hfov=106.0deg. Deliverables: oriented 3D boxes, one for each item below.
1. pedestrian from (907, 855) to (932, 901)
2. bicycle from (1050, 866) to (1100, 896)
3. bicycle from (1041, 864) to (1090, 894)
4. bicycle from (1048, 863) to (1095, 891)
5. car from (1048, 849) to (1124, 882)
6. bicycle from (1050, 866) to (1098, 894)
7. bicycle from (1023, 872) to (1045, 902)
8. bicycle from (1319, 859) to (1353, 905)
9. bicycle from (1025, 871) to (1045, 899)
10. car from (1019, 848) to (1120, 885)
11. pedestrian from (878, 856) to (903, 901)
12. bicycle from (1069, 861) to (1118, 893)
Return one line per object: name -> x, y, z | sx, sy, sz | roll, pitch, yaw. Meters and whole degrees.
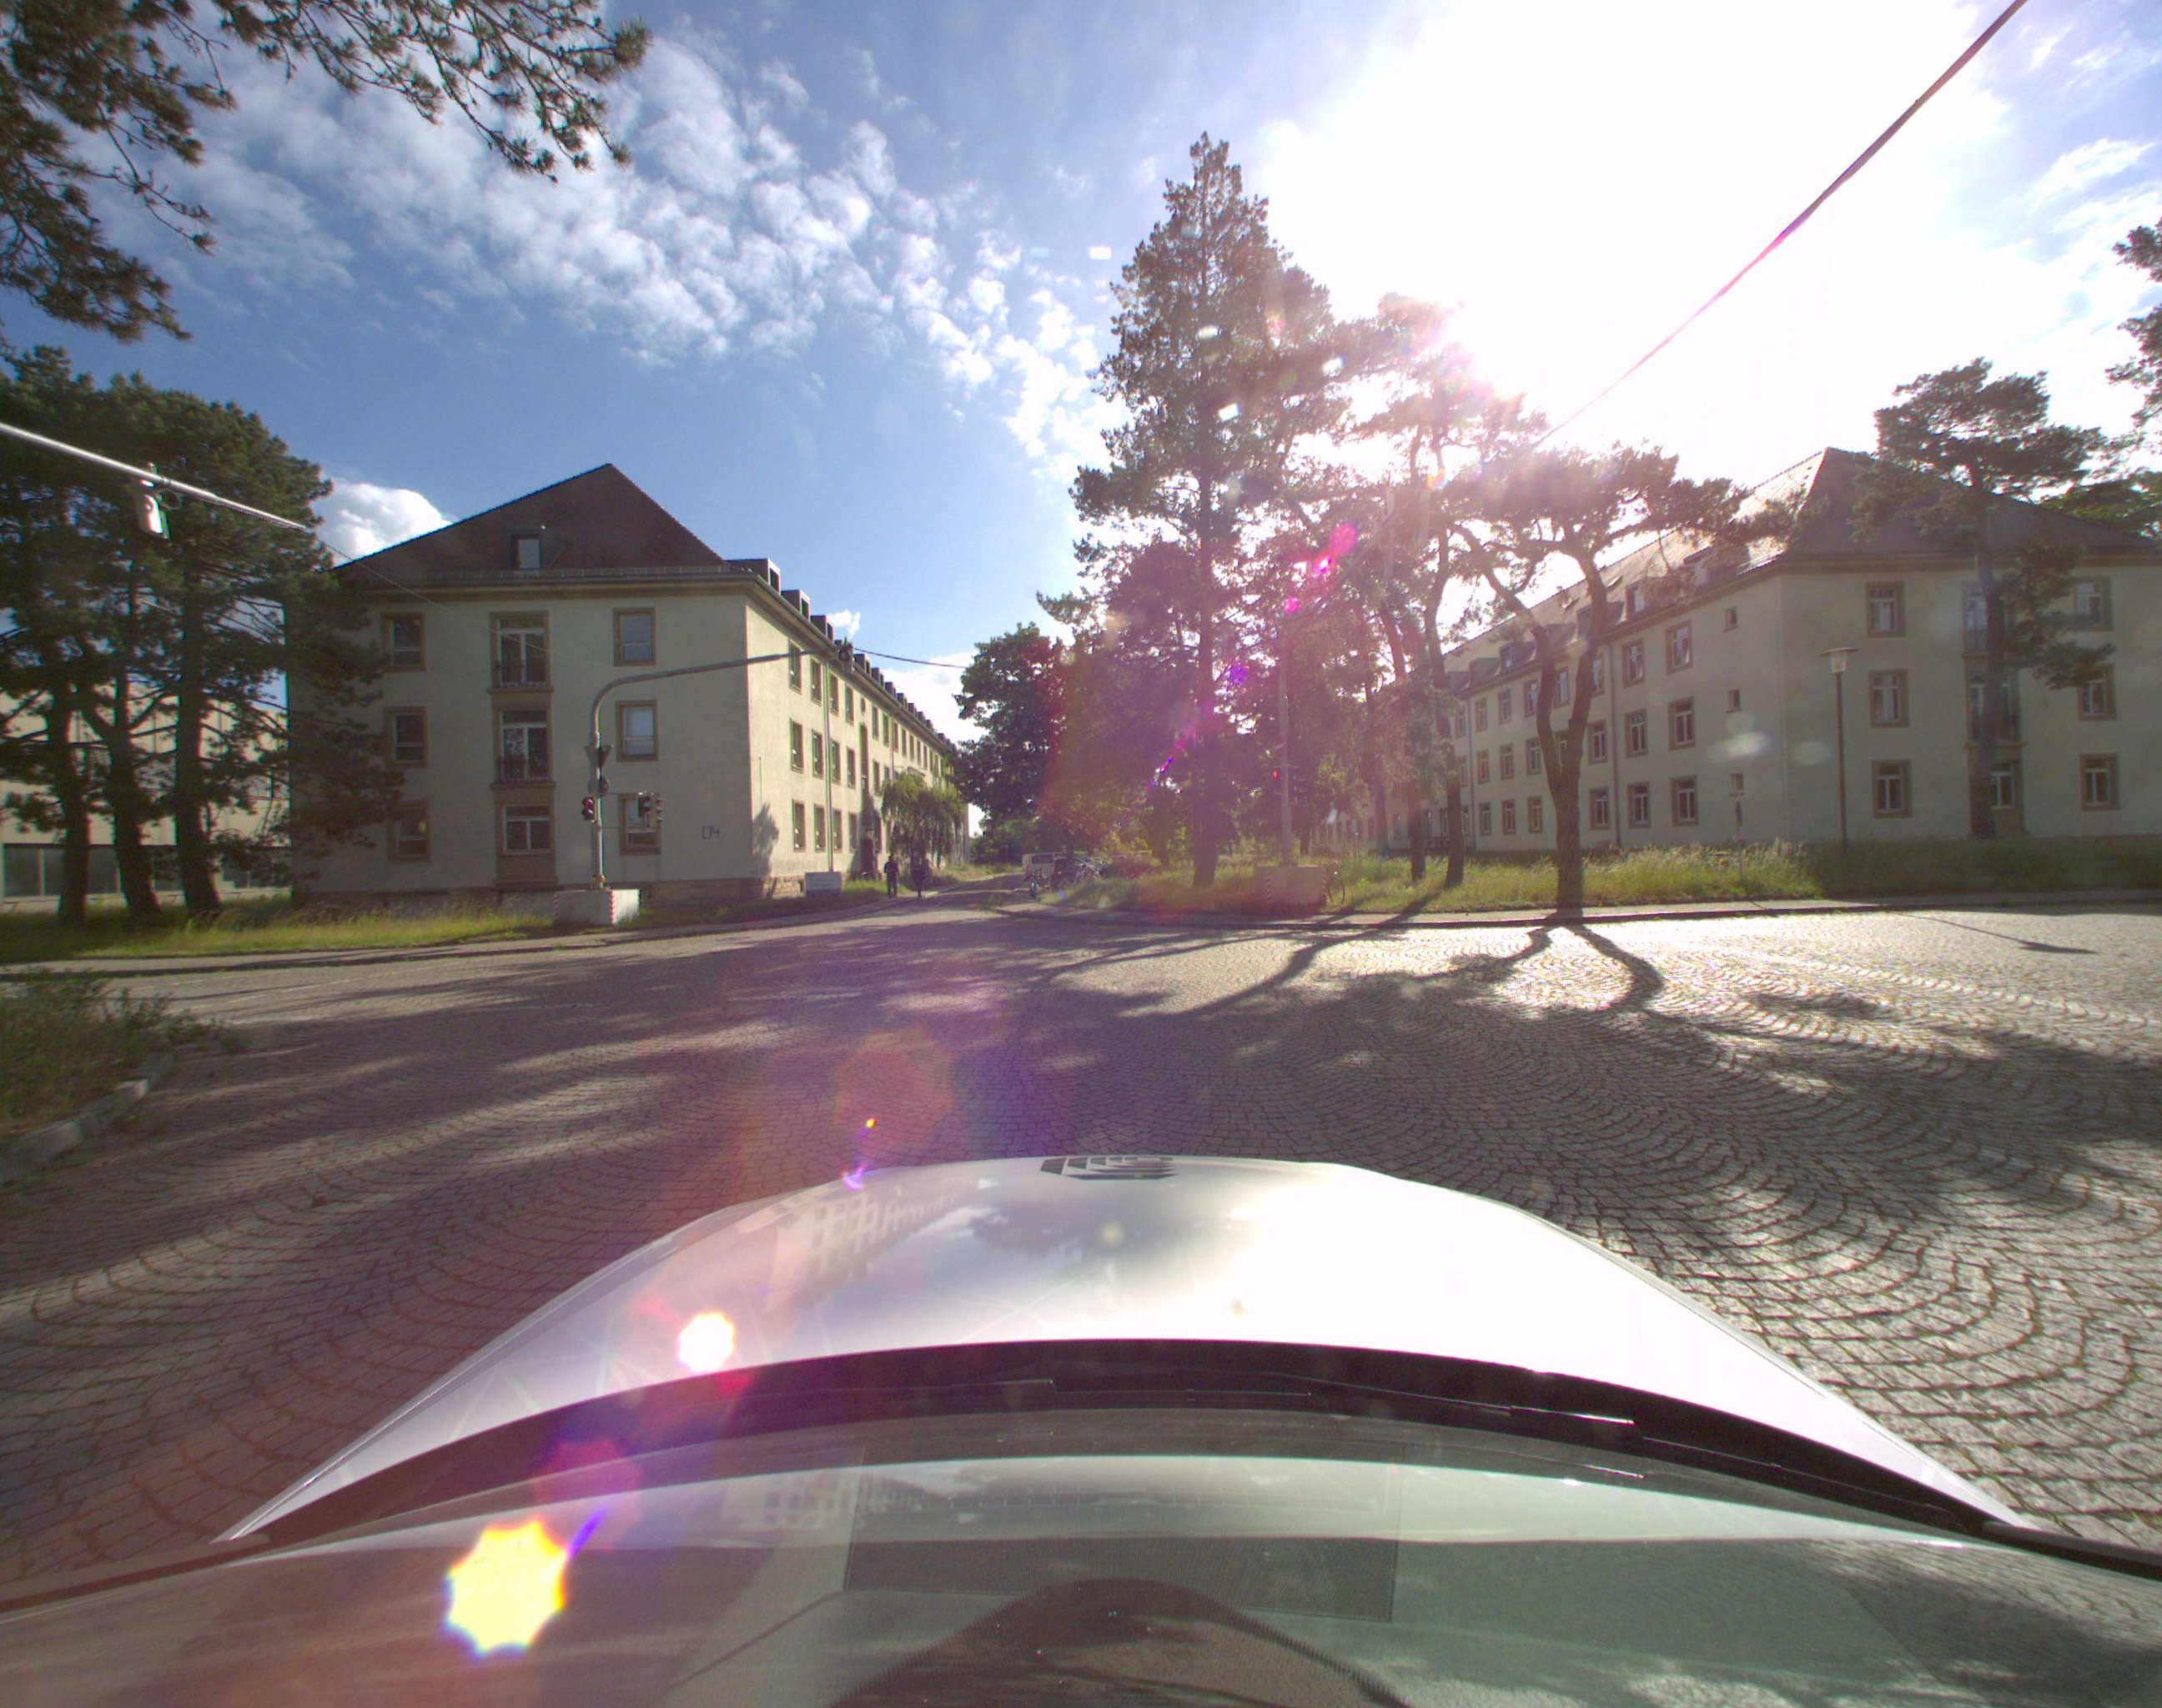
pedestrian -> -6.585, 0.983, 33.220 | 0.762, 1.817, 0.684 | -2, 0, 10
bicycle -> -0.245, 1.063, 32.700 | 1.937, 1.129, 0.749 | -2, 0, -4
bicycle -> -0.635, 1.035, 33.900 | 1.952, 1.129, 0.642 | -2, 0, -28
bicycle -> -0.411, 0.988, 35.006 | 1.939, 1.129, 0.646 | -2, 0, -7
car -> 0.271, 0.622, 45.665 | 3.986, 1.684, 1.841 | -2, 0, -9
bicycle -> -0.284, 1.018, 31.899 | 1.851, 1.031, 0.749 | -2, 0, -4
bicycle -> -1.627, 1.123, 28.384 | 0.694, 0.971, 1.858 | -1, 0, -3
bicycle -> 6.230, 0.673, 19.939 | 0.464, 1.080, 1.174 | -2, -1, 3
bicycle -> -1.716, 1.142, 30.327 | 0.694, 0.971, 1.858 | -1, 0, -3
car -> -0.752, 0.732, 49.970 | 5.927, 2.013, 2.468 | -2, 0, -8
pedestrian -> -7.801, 0.998, 33.374 | 0.807, 1.817, 0.556 | -2, 0, 9
bicycle -> 0.519, 0.930, 33.416 | 1.937, 1.235, 0.484 | -2, 0, -5
